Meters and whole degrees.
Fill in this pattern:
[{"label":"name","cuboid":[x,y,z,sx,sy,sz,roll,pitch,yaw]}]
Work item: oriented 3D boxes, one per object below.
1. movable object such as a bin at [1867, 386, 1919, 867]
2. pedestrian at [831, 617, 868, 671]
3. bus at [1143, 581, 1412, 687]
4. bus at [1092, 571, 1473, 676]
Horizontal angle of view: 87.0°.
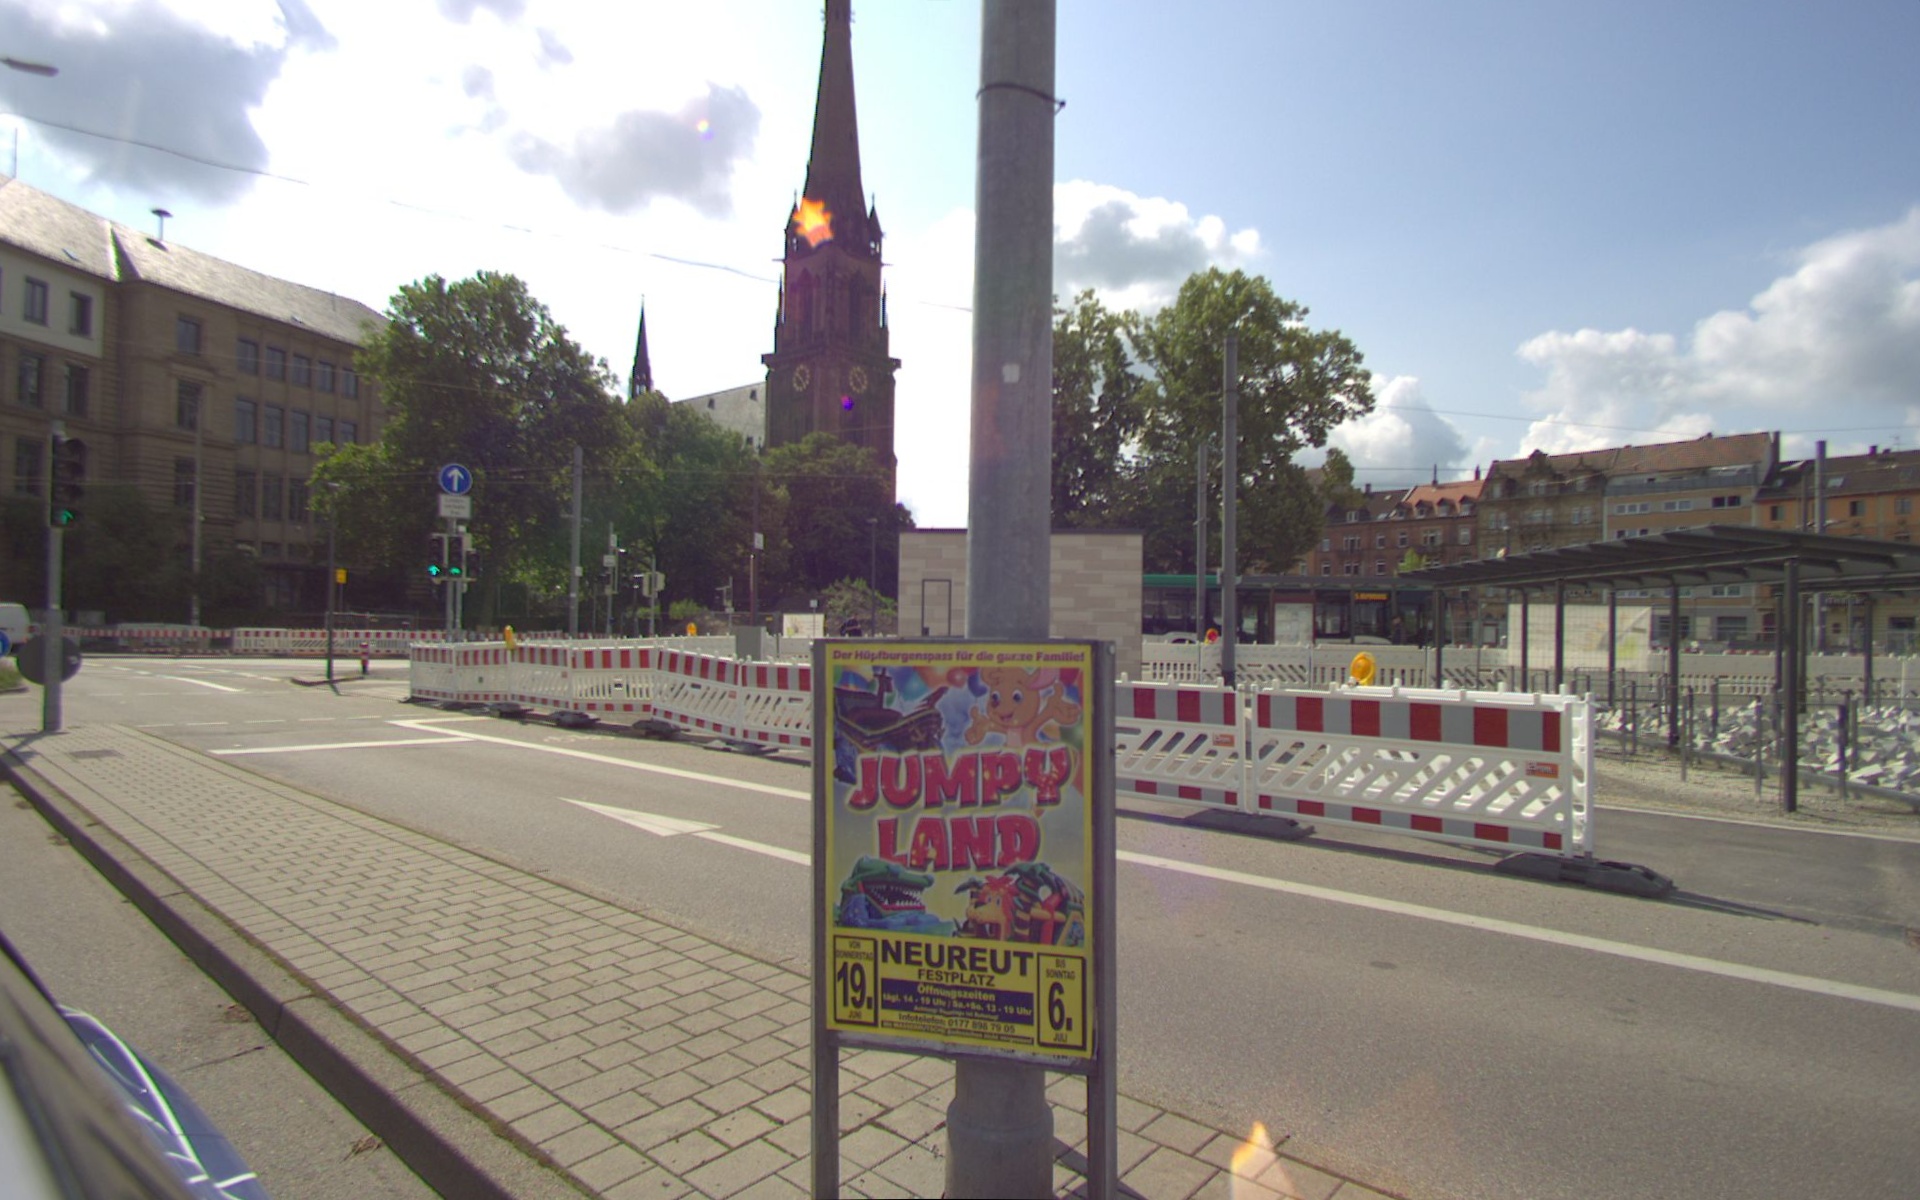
[{"label":"movable object such as a bin","cuboid":[8.151,0.172,5.630,4.386,2.972,2.001,1,-2,-2]},{"label":"pedestrian","cuboid":[-3.554,1.409,32.674,0.834,1.719,1.202,0,-2,14]},{"label":"bus","cuboid":[9.696,1.022,31.607,7.669,3.081,2.369,1,-2,7]},{"label":"bus","cuboid":[10.543,0.769,34.372,11.929,3.287,2.987,1,-2,7]}]
